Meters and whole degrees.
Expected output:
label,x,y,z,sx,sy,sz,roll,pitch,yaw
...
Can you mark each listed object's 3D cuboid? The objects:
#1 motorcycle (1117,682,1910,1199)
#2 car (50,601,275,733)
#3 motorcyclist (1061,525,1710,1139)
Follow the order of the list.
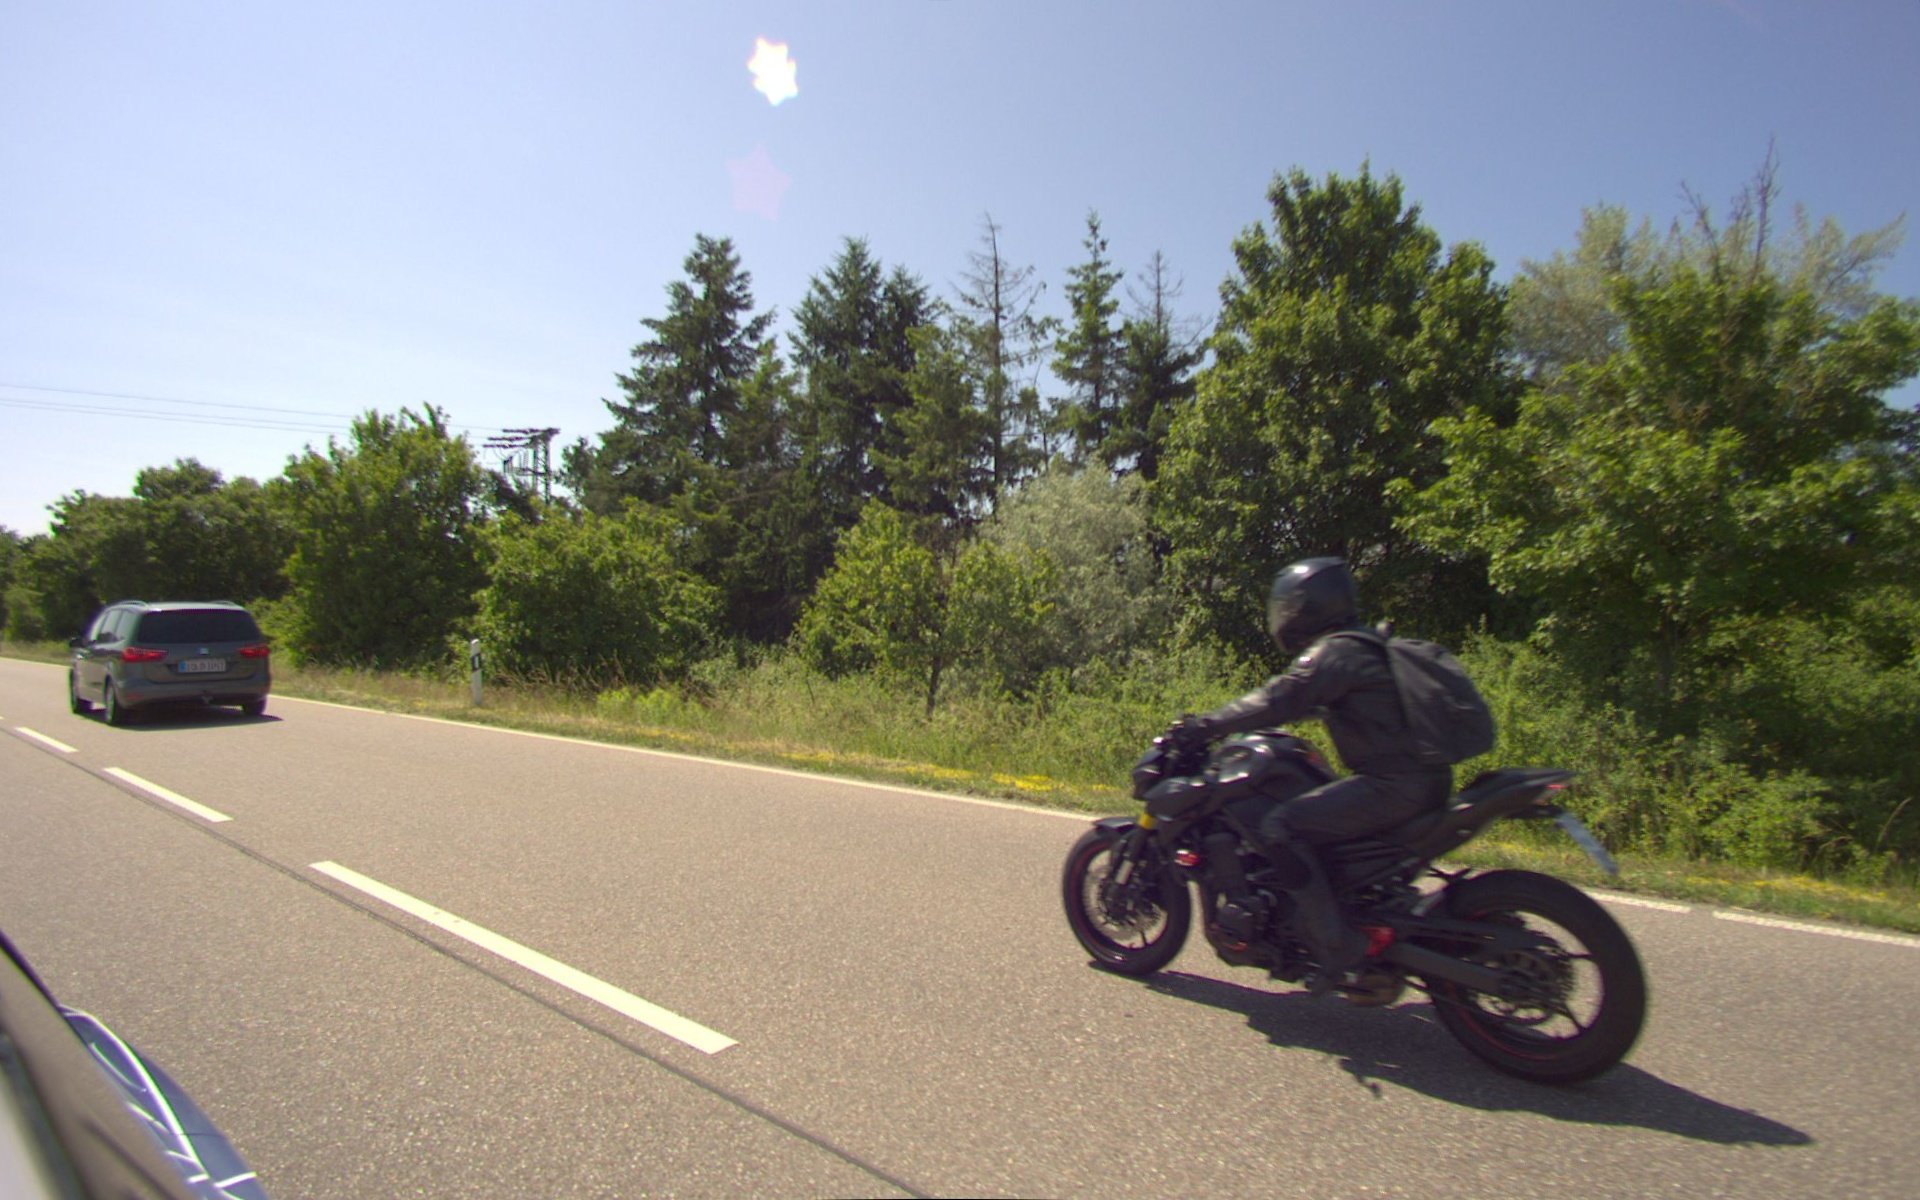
label,x,y,z,sx,sy,sz,roll,pitch,yaw
motorcycle,1.531,0.866,3.157,2.020,1.117,0.611,-1,-1,39
car,-12.348,0.926,15.534,4.998,1.714,1.800,-1,-2,41
motorcyclist,1.327,0.578,3.359,1.815,1.485,0.827,-1,-1,39
